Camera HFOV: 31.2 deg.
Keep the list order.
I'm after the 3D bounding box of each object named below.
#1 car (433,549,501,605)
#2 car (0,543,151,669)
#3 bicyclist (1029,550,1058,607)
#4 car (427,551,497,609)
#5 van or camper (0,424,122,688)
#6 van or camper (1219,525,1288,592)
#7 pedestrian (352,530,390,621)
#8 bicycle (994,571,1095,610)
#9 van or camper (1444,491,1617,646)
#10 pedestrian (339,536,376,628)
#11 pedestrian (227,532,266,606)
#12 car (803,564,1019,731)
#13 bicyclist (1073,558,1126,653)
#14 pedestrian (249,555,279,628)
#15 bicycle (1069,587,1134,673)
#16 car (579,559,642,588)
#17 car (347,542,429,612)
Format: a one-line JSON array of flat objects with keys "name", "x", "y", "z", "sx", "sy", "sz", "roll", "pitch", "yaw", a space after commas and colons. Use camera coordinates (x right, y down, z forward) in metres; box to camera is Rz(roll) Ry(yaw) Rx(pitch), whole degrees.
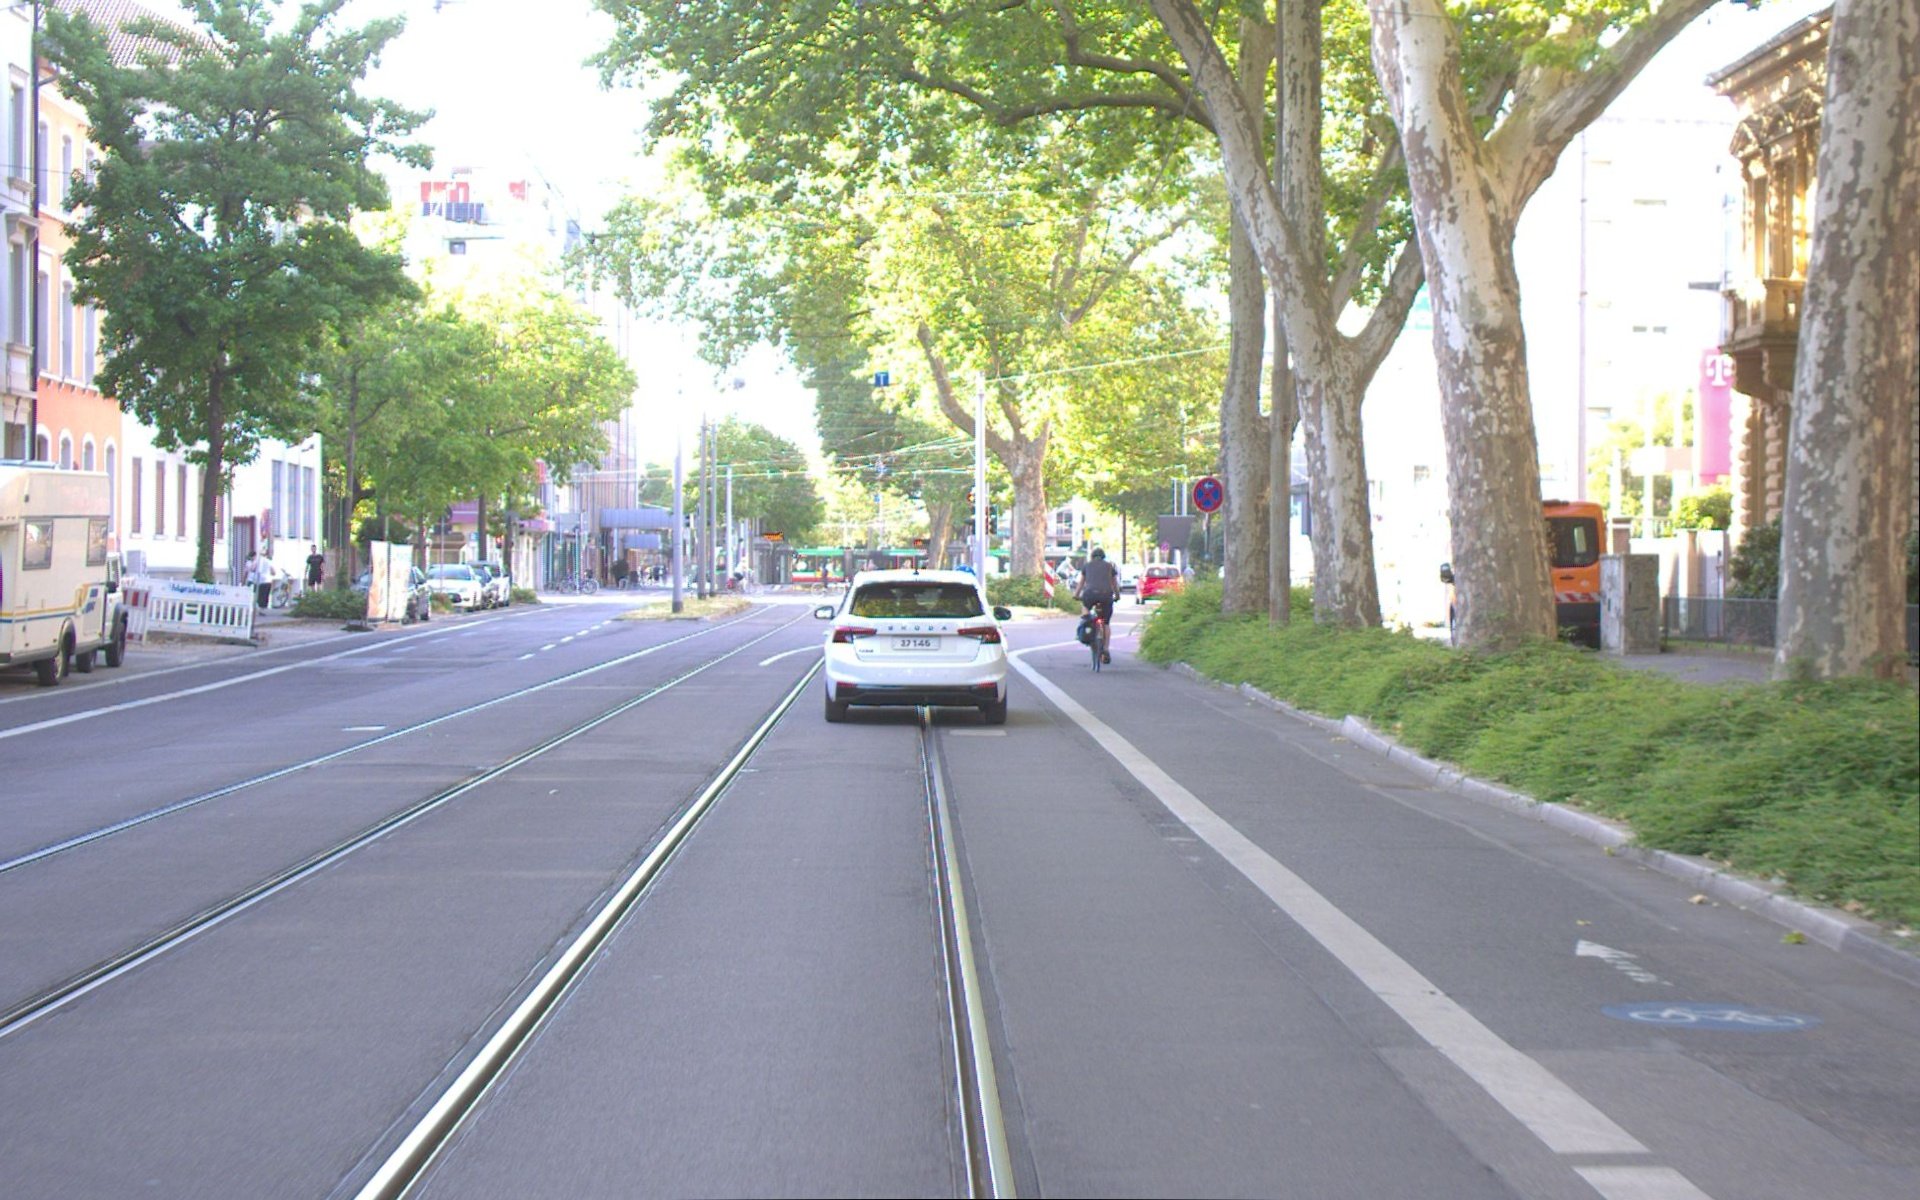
[{"name": "car", "x": -15.890, "y": -0.757, "z": 110.941, "sx": 1.793, "sy": 1.720, "sz": 3.785, "roll": 1, "pitch": 1, "yaw": -3}, {"name": "car", "x": -12.836, "y": 0.055, "z": 49.538, "sx": 1.641, "sy": 1.720, "sz": 3.785, "roll": 1, "pitch": 1, "yaw": -3}, {"name": "bicyclist", "x": 2.358, "y": -0.607, "z": 96.705, "sx": 0.737, "sy": 1.583, "sz": 0.586, "roll": 0, "pitch": 1, "yaw": 11}, {"name": "car", "x": -15.364, "y": -0.637, "z": 106.236, "sx": 1.793, "sy": 1.720, "sz": 3.785, "roll": 1, "pitch": 1, "yaw": -3}, {"name": "van or camper", "x": -12.461, "y": -0.568, "z": 42.938, "sx": 2.216, "sy": 3.129, "sz": 7.114, "roll": 1, "pitch": 1, "yaw": 0}, {"name": "van or camper", "x": 10.574, "y": -1.480, "z": 123.921, "sx": 1.993, "sy": 2.335, "sz": 4.000, "roll": 2, "pitch": 0, "yaw": -1}, {"name": "pedestrian", "x": -13.071, "y": -0.535, "z": 76.347, "sx": 0.646, "sy": 1.996, "sz": 0.749, "roll": 1, "pitch": 0, "yaw": 3}, {"name": "bicycle", "x": 2.378, "y": -0.267, "z": 96.711, "sx": 2.771, "sy": 0.996, "sz": 0.592, "roll": 2, "pitch": 0, "yaw": 13}, {"name": "van or camper", "x": 9.593, "y": -0.528, "z": 58.209, "sx": 2.027, "sy": 2.455, "sz": 5.108, "roll": 2, "pitch": 0, "yaw": 0}, {"name": "pedestrian", "x": -13.206, "y": -0.403, "z": 75.322, "sx": 0.601, "sy": 1.996, "sz": 0.749, "roll": 1, "pitch": 0, "yaw": 3}, {"name": "pedestrian", "x": -19.489, "y": -0.855, "z": 93.900, "sx": 0.748, "sy": 1.996, "sz": 0.647, "roll": 2, "pitch": 1, "yaw": 37}, {"name": "car", "x": -0.532, "y": 0.416, "z": 33.204, "sx": 1.842, "sy": 1.475, "sz": 3.839, "roll": 1, "pitch": 0, "yaw": -4}, {"name": "bicyclist", "x": 1.981, "y": 0.079, "z": 48.980, "sx": 0.679, "sy": 1.334, "sz": 0.525, "roll": 2, "pitch": 0, "yaw": -2}, {"name": "pedestrian", "x": -16.991, "y": -0.209, "z": 83.959, "sx": 0.600, "sy": 1.766, "sz": 0.701, "roll": 2, "pitch": 0, "yaw": -6}, {"name": "bicycle", "x": 1.998, "y": 0.404, "z": 48.944, "sx": 0.680, "sy": 1.151, "sz": 2.964, "roll": 2, "pitch": 0, "yaw": -2}, {"name": "car", "x": -22.965, "y": -1.729, "z": 226.072, "sx": 3.794, "sy": 1.812, "sz": 1.803, "roll": 2, "pitch": 0, "yaw": 4}, {"name": "car", "x": -14.666, "y": -0.597, "z": 88.240, "sx": 1.641, "sy": 1.720, "sz": 3.785, "roll": 1, "pitch": 1, "yaw": -3}]
